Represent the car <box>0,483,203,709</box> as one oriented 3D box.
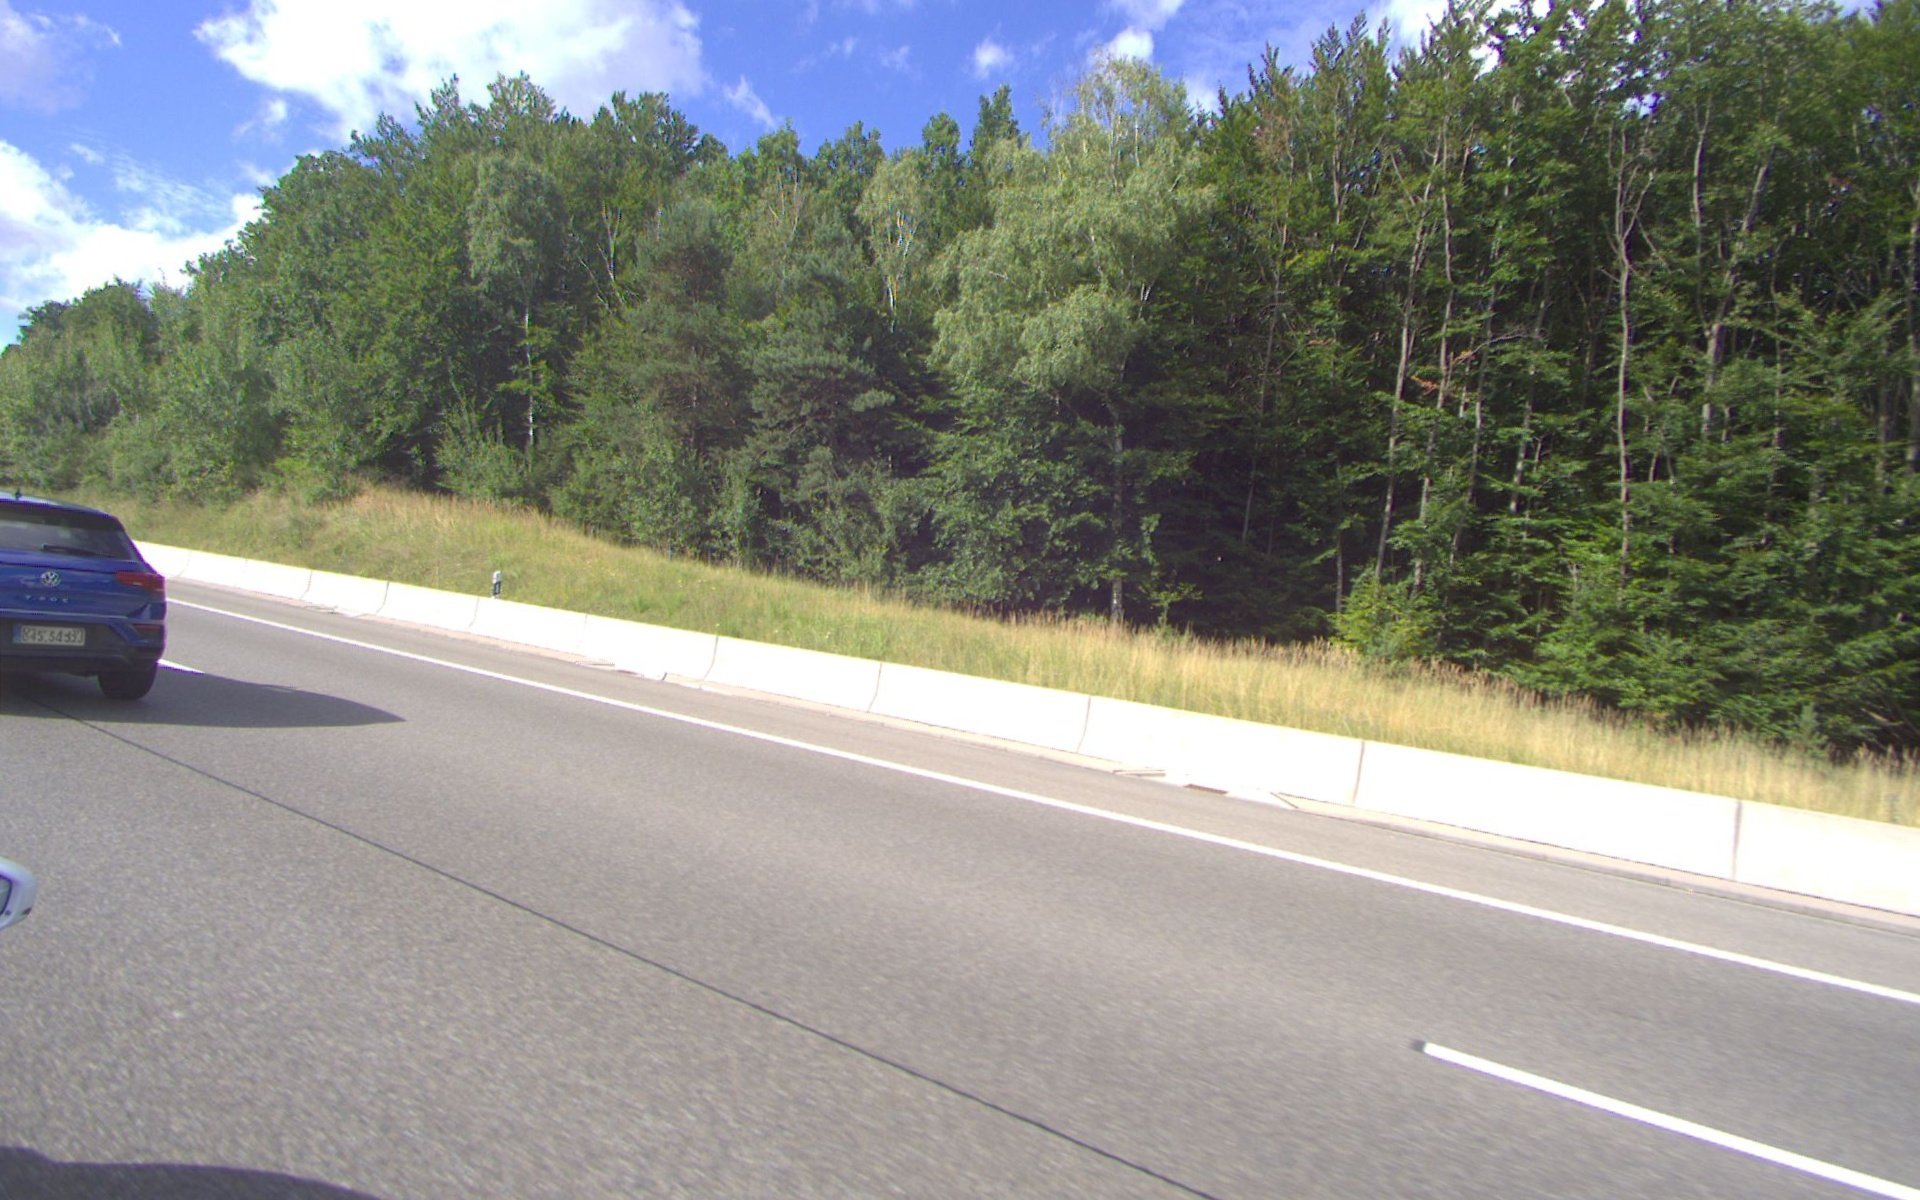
[{"bbox_3d":[-8.319,-0.218,8.257,4.383,1.548,1.776,7,-1,31],"label":"car"}]
